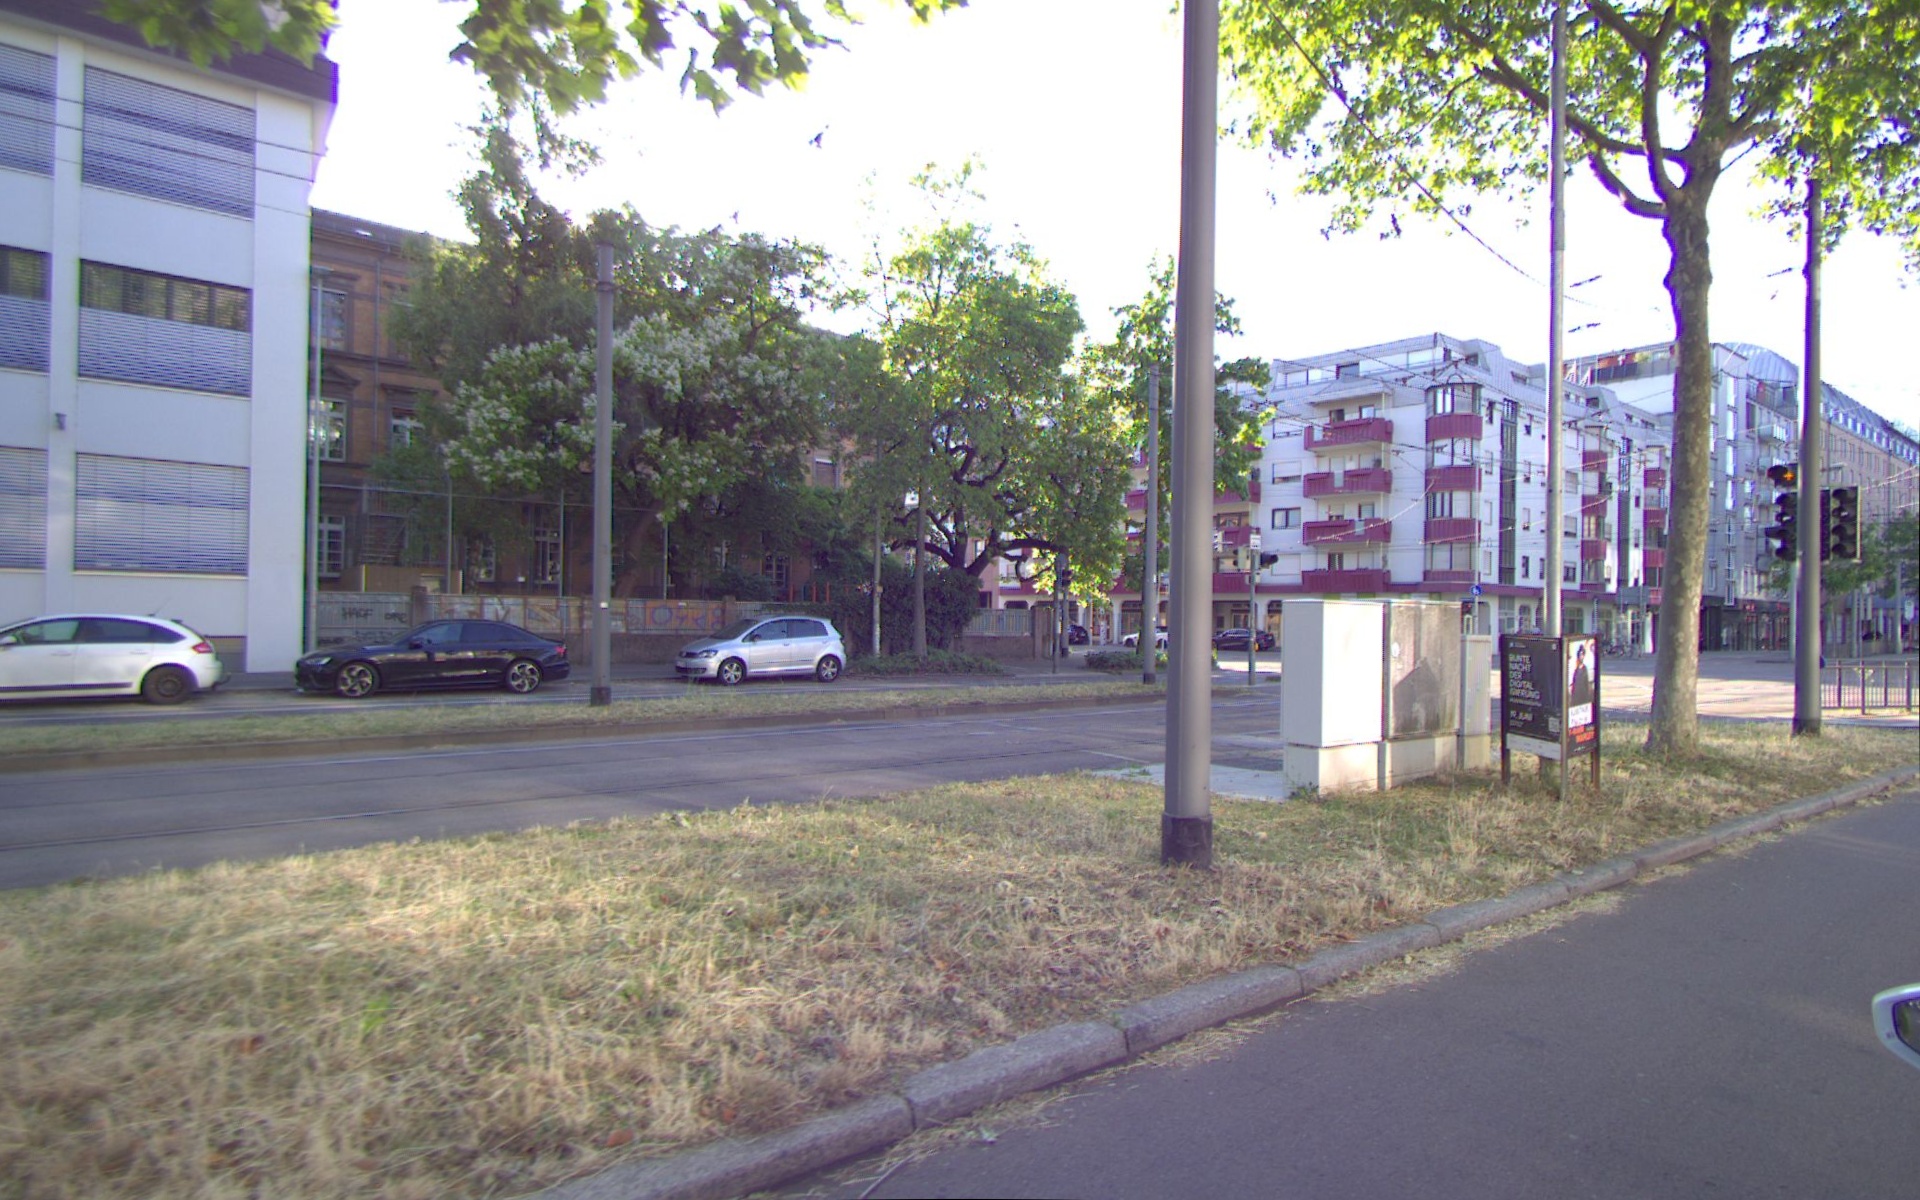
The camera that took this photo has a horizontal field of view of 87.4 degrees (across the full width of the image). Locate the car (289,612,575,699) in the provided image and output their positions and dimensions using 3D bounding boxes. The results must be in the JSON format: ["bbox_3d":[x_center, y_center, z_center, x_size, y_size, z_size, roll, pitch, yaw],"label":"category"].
[{"bbox_3d":[-10.107,1.008,19.413,4.610,1.495,1.978,2,-1,-39],"label":"car"}]

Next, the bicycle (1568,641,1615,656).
[{"bbox_3d":[35.772,2.762,56.912,0.635,0.797,2.152,2,-2,-39],"label":"bicycle"}]

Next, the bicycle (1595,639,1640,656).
[{"bbox_3d":[38.155,2.742,58.283,0.488,0.963,2.152,1,-1,-39],"label":"bicycle"}]

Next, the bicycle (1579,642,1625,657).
[{"bbox_3d":[36.519,2.820,57.161,0.488,0.797,2.152,1,-2,-39],"label":"bicycle"}]

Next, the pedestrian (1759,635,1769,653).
[{"bbox_3d":[65.383,3.552,81.701,0.523,1.478,0.506,1,-1,-38],"label":"pedestrian"}]

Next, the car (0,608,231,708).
[{"bbox_3d":[-14.398,0.884,16.036,4.368,1.490,1.978,2,-1,-39],"label":"car"}]

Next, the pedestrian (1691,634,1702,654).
[{"bbox_3d":[54.047,3.213,73.706,0.523,1.478,0.506,1,-1,-39],"label":"pedestrian"}]

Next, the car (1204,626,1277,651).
[{"bbox_3d":[17.168,2.332,61.567,3.943,1.483,1.792,-1,-2,42],"label":"car"}]

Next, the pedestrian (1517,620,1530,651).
[{"bbox_3d":[32.021,2.005,57.081,0.523,1.721,0.506,1,-1,-38],"label":"pedestrian"}]

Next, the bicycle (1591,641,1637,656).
[{"bbox_3d":[37.672,2.795,57.861,0.523,0.835,2.152,1,-2,-39],"label":"bicycle"}]

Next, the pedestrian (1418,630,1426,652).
[{"bbox_3d":[25.327,2.252,55.060,0.316,1.230,0.301,1,-2,-41],"label":"pedestrian"}]

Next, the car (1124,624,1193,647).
[{"bbox_3d":[13.005,2.318,65.946,4.213,1.483,1.791,-1,-2,44],"label":"car"}]

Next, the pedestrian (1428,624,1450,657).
[{"bbox_3d":[24.693,2.103,51.761,1.025,1.684,0.702,2,-2,-41],"label":"pedestrian"}]

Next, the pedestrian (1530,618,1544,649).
[{"bbox_3d":[32.407,1.871,56.458,0.522,1.721,0.507,1,-1,-33],"label":"pedestrian"}]

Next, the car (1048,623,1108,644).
[{"bbox_3d":[8.310,2.361,70.992,3.945,1.483,1.791,-1,-2,44],"label":"car"}]

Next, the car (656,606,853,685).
[{"bbox_3d":[-4.822,1.050,23.844,4.142,1.711,1.978,2,-1,-39],"label":"car"}]
